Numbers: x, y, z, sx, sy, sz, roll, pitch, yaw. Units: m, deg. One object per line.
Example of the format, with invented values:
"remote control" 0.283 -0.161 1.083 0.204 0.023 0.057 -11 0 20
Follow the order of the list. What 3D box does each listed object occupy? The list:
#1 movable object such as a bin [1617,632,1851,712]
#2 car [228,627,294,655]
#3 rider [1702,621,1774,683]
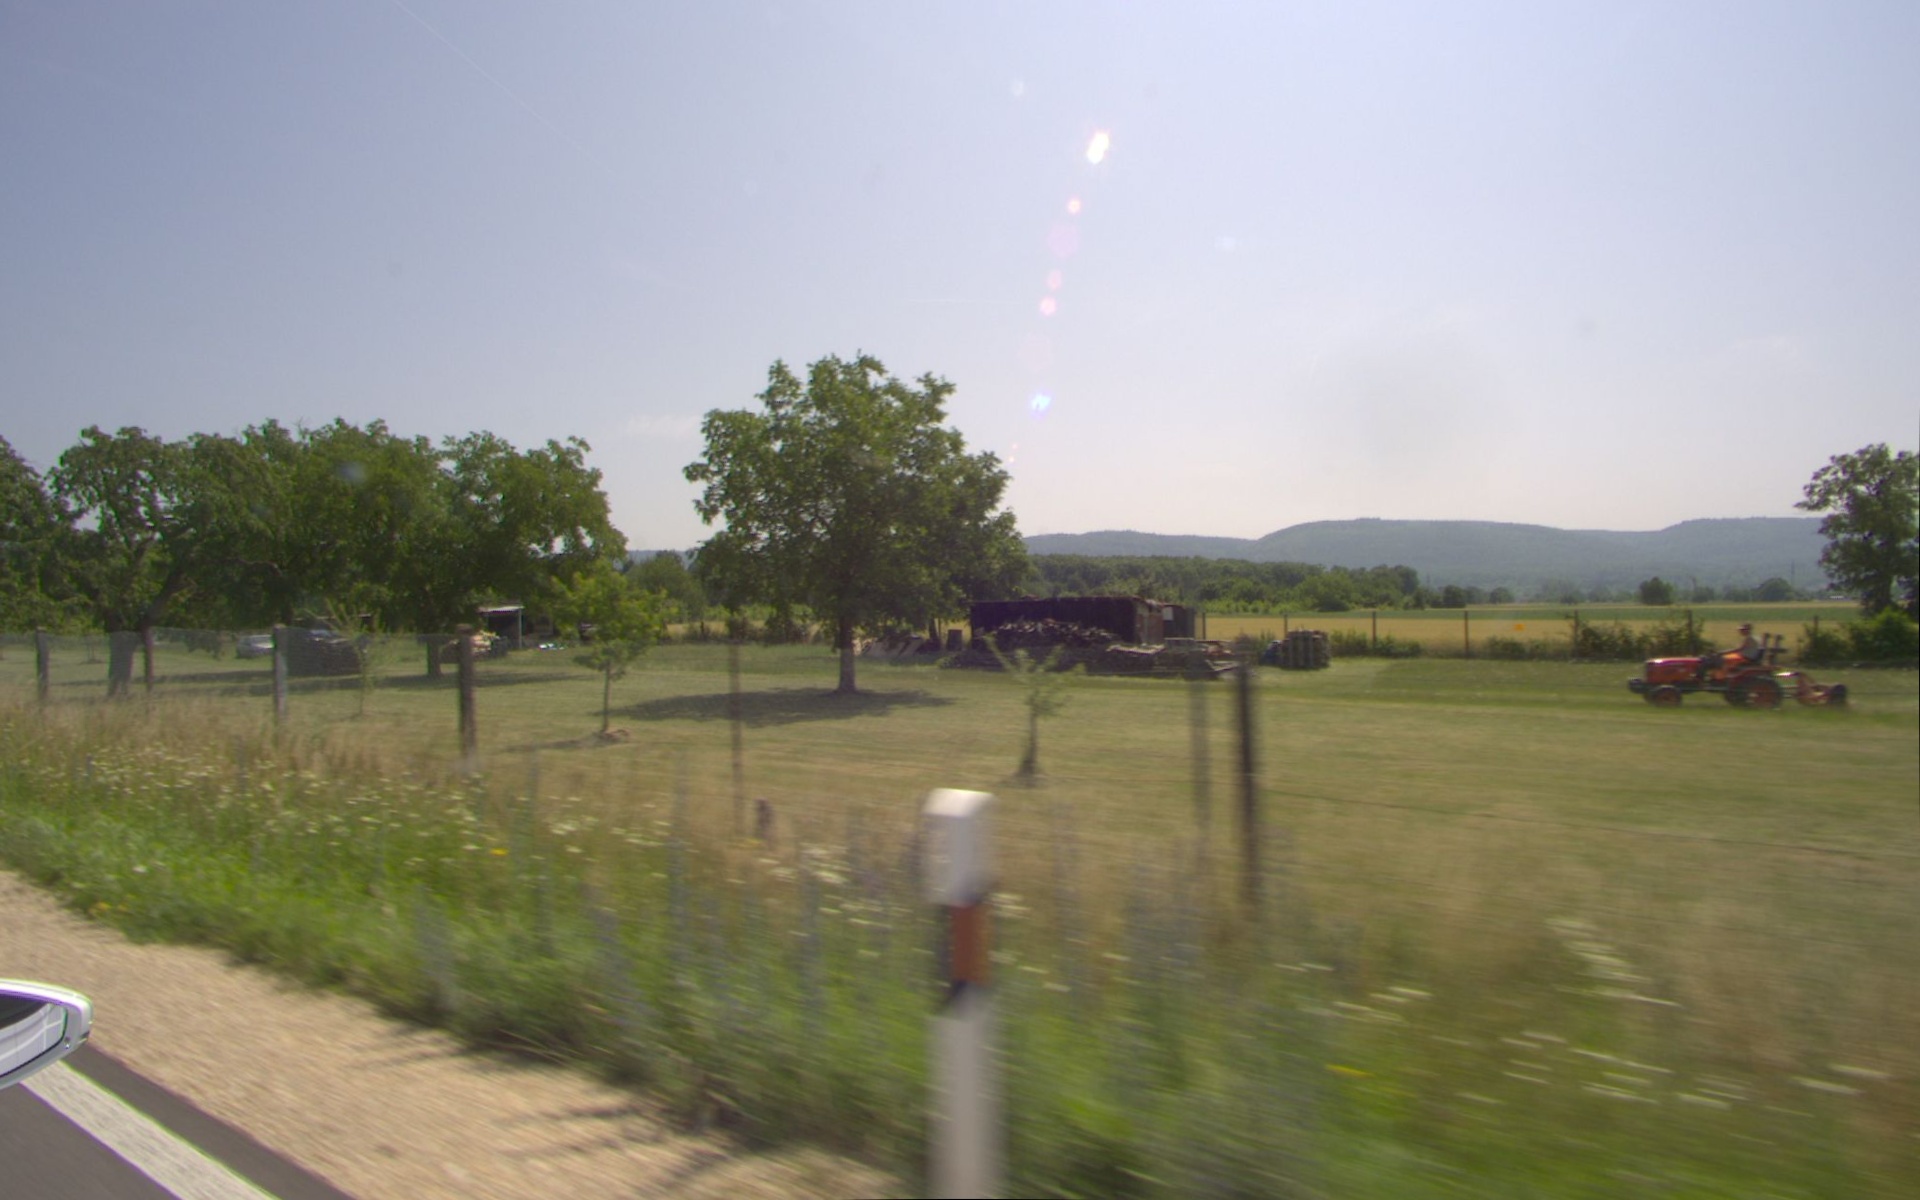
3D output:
"movable object such as a bin" 15.925 1.435 20.829 3.602 1.516 1.570 -1 -1 28
"car" -39.901 2.331 57.144 3.371 1.505 1.593 0 0 25
"rider" 15.945 1.054 20.557 0.970 1.233 1.024 -1 -1 26
